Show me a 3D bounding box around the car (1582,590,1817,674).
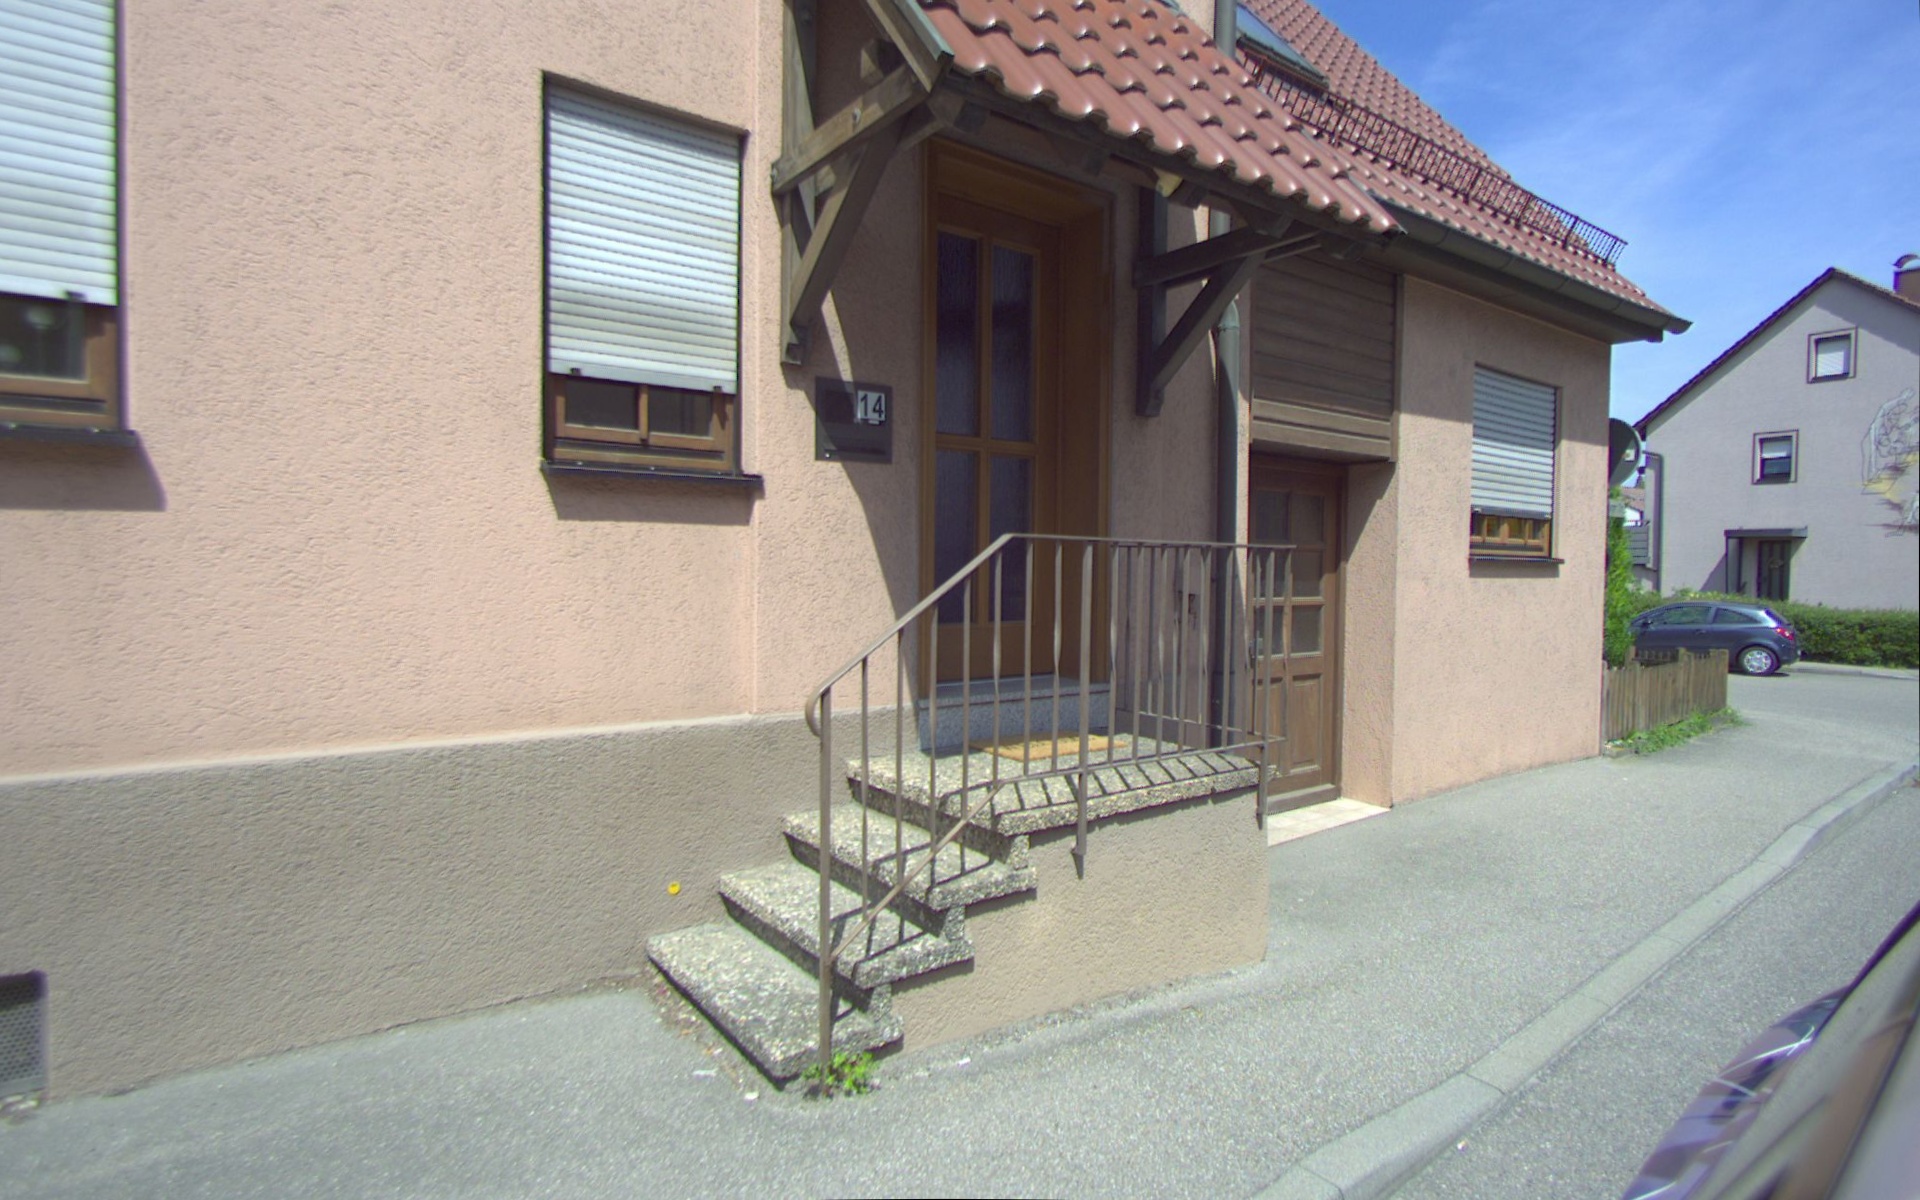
[{"bbox_3d":[15.694,0.601,21.576,3.805,1.506,1.860,3,2,44],"label":"car"}]
